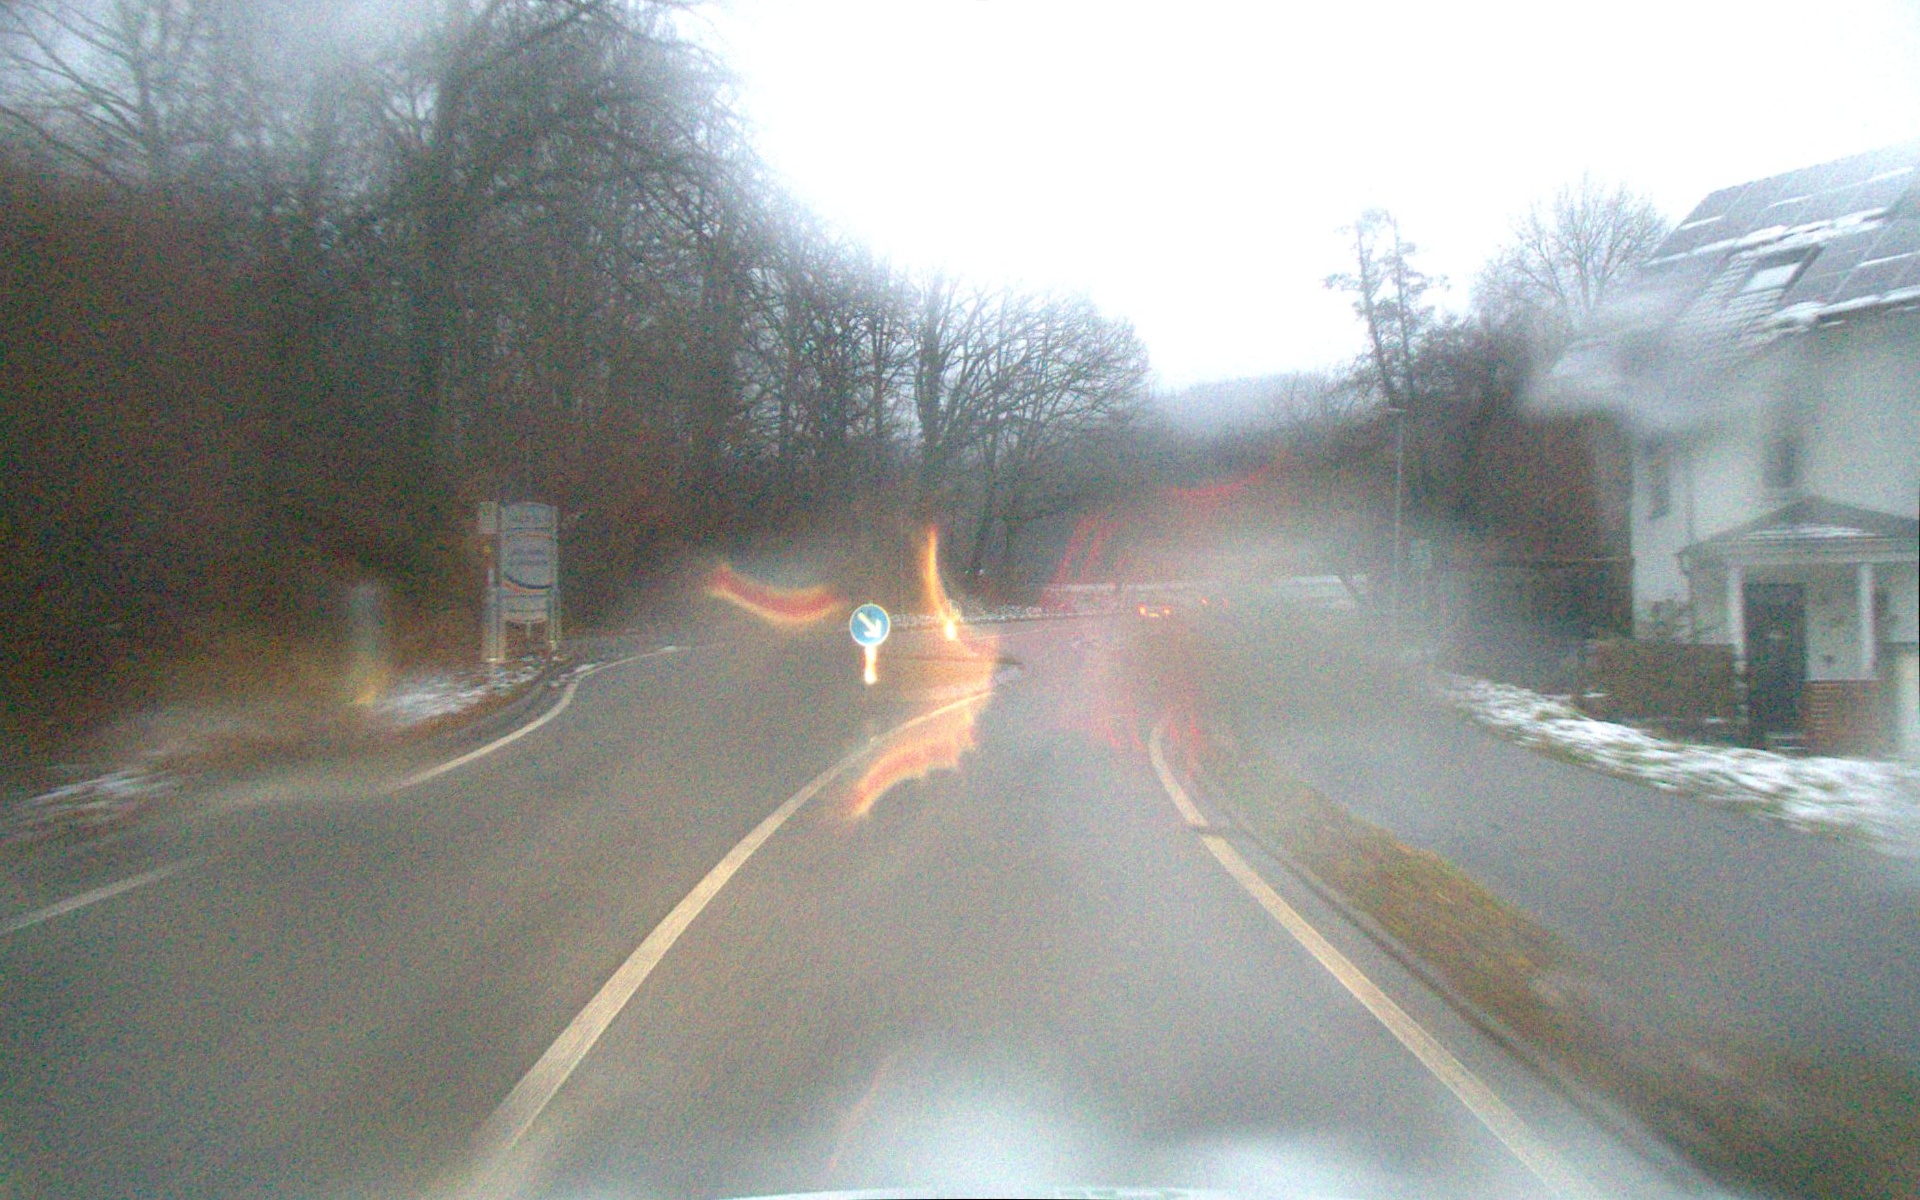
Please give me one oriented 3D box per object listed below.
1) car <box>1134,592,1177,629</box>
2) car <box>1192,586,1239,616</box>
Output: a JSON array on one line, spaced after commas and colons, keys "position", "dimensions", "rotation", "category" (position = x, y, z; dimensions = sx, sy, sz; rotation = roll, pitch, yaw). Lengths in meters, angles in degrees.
[{"position": [10.067, 0.524, 84.846], "dimensions": [1.891, 1.812, 4.004], "rotation": [0, 0, 11], "category": "car"}, {"position": [14.982, 0.033, 96.757], "dimensions": [1.893, 1.705, 4.000], "rotation": [0, 0, 22], "category": "car"}]
